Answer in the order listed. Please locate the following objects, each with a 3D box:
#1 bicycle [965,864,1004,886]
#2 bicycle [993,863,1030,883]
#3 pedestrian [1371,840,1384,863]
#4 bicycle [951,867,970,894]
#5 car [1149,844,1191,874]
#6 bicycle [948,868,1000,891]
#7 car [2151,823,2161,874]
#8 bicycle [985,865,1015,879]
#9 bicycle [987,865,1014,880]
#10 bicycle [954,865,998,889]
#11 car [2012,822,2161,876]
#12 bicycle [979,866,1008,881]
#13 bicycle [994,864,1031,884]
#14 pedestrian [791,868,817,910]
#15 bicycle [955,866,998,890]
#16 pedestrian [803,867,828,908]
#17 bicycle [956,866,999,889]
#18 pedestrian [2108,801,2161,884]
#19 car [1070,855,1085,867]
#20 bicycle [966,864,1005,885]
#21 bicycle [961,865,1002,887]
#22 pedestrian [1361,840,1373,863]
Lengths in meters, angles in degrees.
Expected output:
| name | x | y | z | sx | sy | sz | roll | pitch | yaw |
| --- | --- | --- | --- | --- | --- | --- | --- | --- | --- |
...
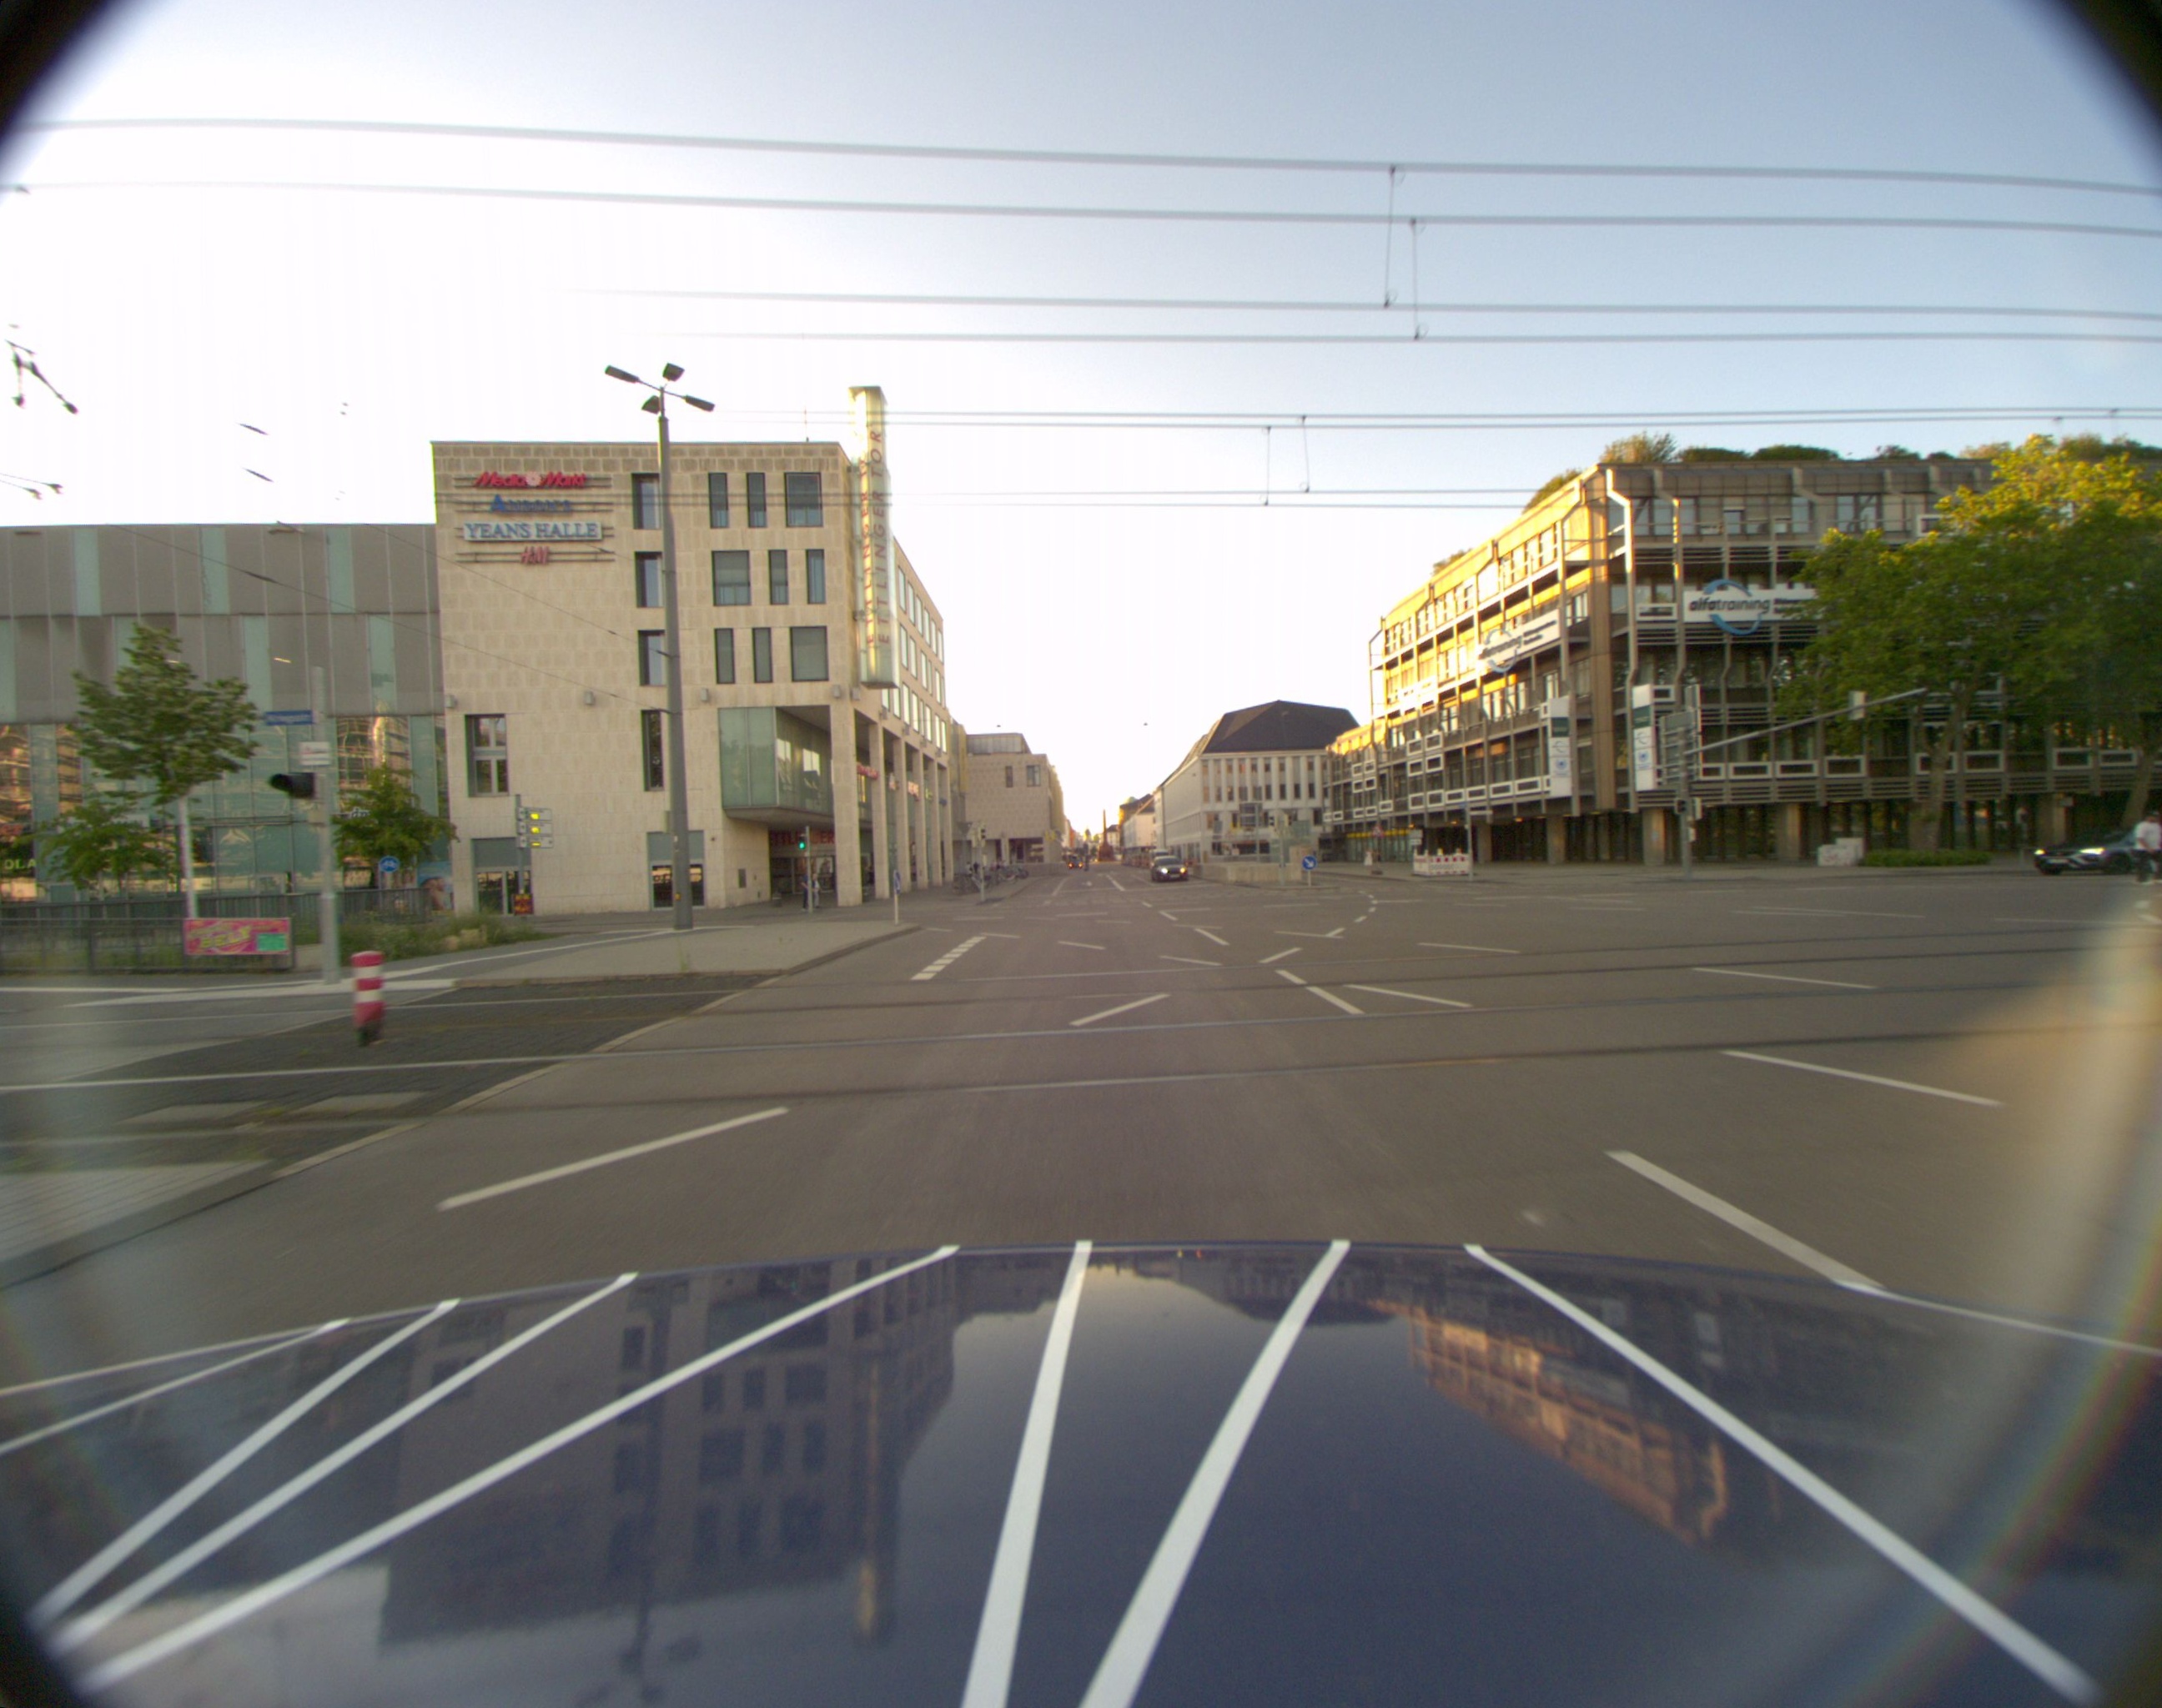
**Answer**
| name | x | y | z | sx | sy | sz | roll | pitch | yaw |
| --- | --- | --- | --- | --- | --- | --- | --- | --- | --- |
| bicycle | -6.400 | 1.385 | 50.485 | 2.508 | 1.316 | 0.619 | -2 | 2 | 0 |
| bicycle | -4.881 | 1.348 | 53.471 | 2.508 | 1.316 | 0.619 | -2 | 2 | 0 |
| pedestrian | 21.918 | -0.202 | 56.181 | 0.651 | 1.703 | 0.650 | -2 | 1 | 2 |
| bicycle | -6.563 | 1.432 | 41.508 | 0.619 | 1.316 | 2.508 | -2 | 1 | -2 |
| car | 5.244 | 0.256 | 45.352 | 2.071 | 1.641 | 4.000 | -2 | 1 | 1 |
| bicycle | -6.167 | 1.479 | 43.690 | 2.804 | 1.209 | 0.765 | -2 | 1 | 9 |
| car | 35.986 | -0.263 | 22.743 | 5.160 | 1.576 | 2.000 | -2 | 1 | 0 |
| bicycle | -6.567 | 1.453 | 61.977 | 2.351 | 1.035 | 0.509 | -2 | 1 | -2 |
| bicycle | -6.399 | 1.469 | 60.323 | 2.070 | 1.035 | 0.509 | -2 | 1 | -2 |
| bicycle | -6.252 | 1.385 | 45.325 | 2.508 | 1.316 | 0.619 | -2 | 2 | 0 |
| car | 35.159 | -0.195 | 26.013 | 4.398 | 1.641 | 1.858 | -2 | 1 | -2 |
| bicycle | -6.648 | 1.512 | 58.013 | 2.117 | 1.035 | 0.509 | -2 | 1 | -2 |
| bicycle | -4.916 | 1.405 | 54.496 | 2.508 | 1.316 | 0.619 | -2 | 2 | 0 |
| pedestrian | -11.796 | 1.481 | 32.389 | 0.764 | 1.696 | 0.834 | -2 | 1 | -2 |
| bicycle | -6.345 | 1.440 | 46.321 | 2.508 | 1.316 | 0.619 | -2 | 2 | 0 |
| pedestrian | -11.654 | 1.463 | 33.374 | 0.764 | 1.696 | 0.834 | -2 | 1 | -2 |
| bicycle | -6.381 | 1.434 | 47.014 | 2.508 | 1.316 | 0.619 | -2 | 2 | 0 |
| pedestrian | 24.949 | -0.275 | 17.884 | 0.644 | 1.920 | 0.681 | -2 | 1 | -3 |
| car | -0.507 | 1.005 | 114.324 | 2.071 | 1.641 | 4.000 | -2 | 1 | 1 |
| bicycle | -6.425 | 1.373 | 51.275 | 2.508 | 1.316 | 0.619 | -2 | 2 | 0 |
| bicycle | -6.359 | 1.407 | 48.765 | 2.508 | 1.316 | 0.619 | -2 | 2 | 0 |
| pedestrian | 21.231 | -0.177 | 56.397 | 0.646 | 1.703 | 0.682 | -2 | 1 | 2 |
